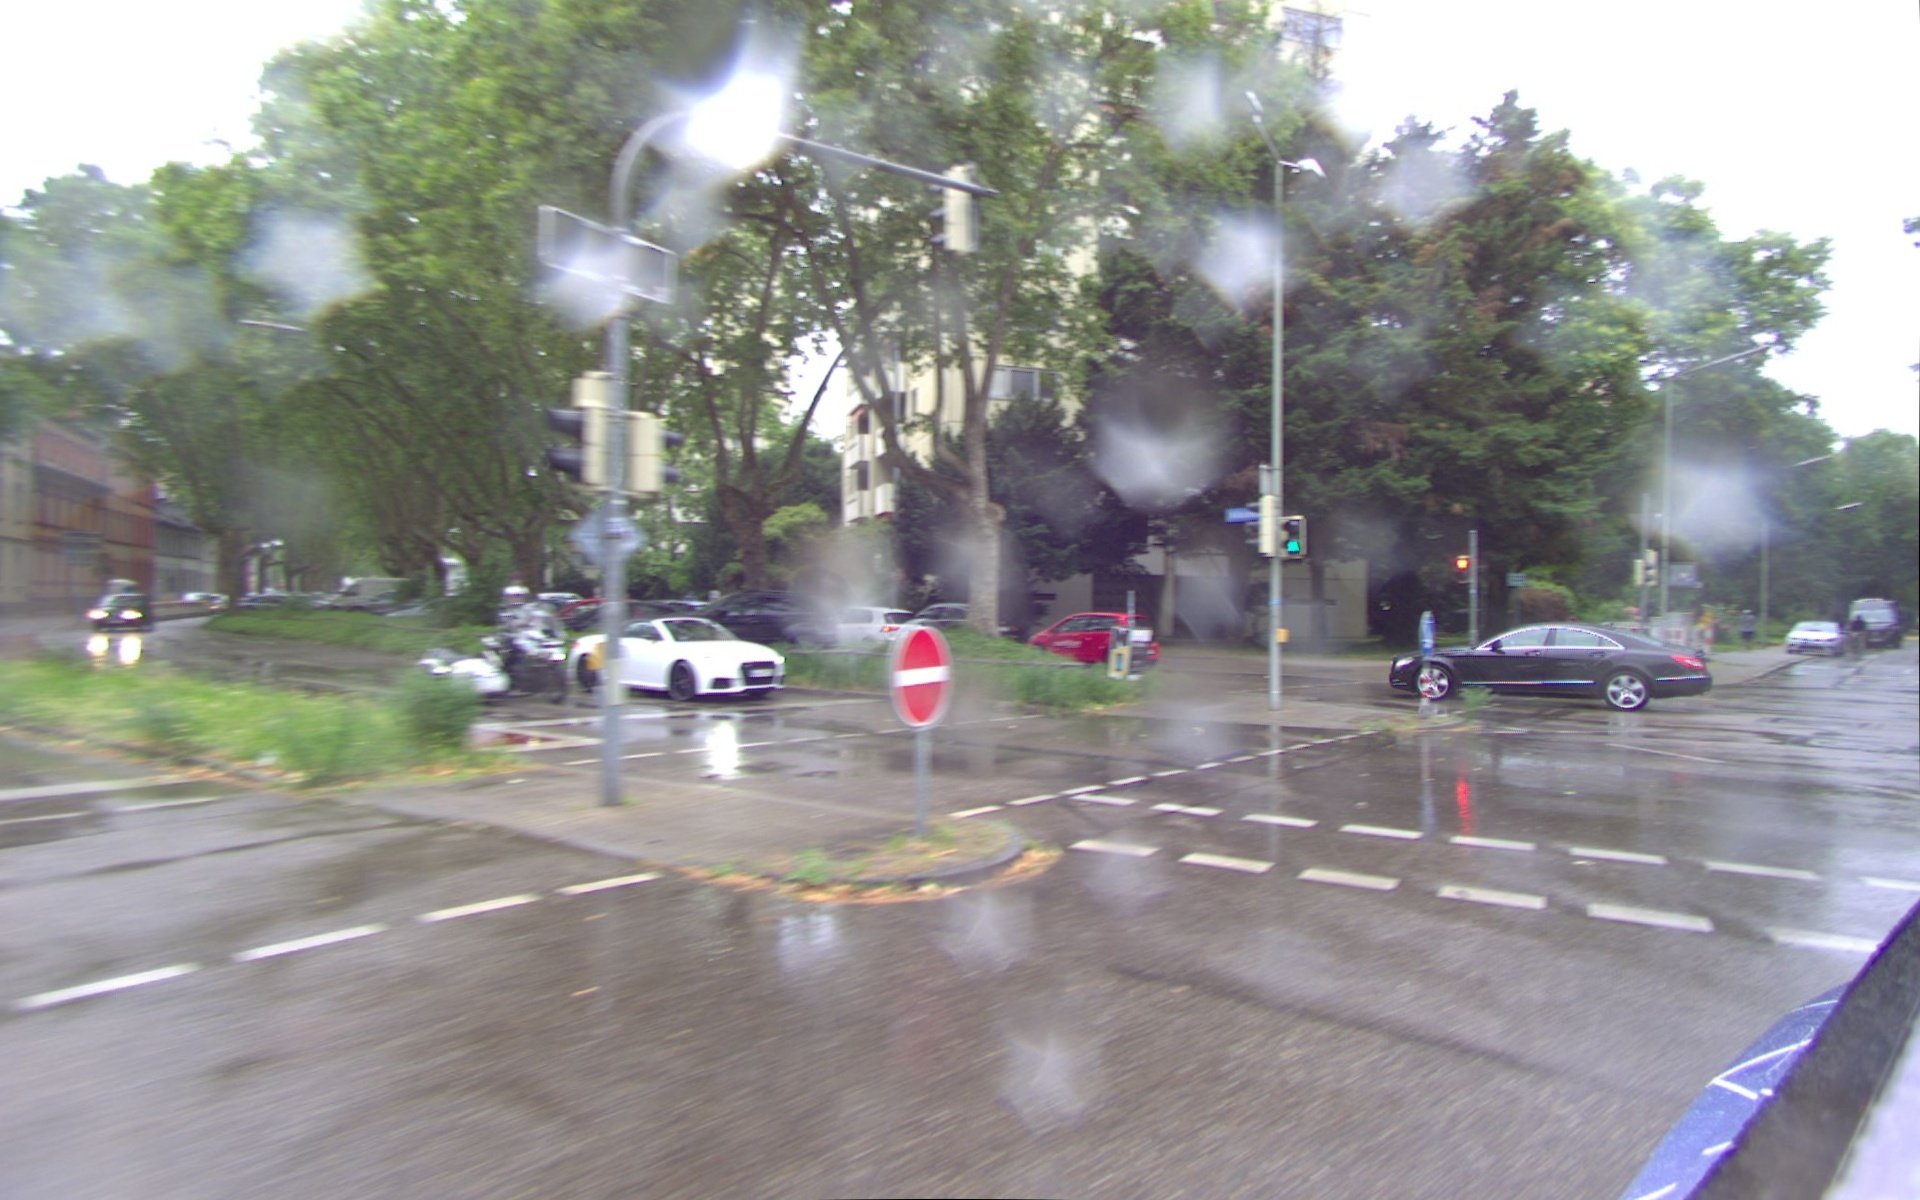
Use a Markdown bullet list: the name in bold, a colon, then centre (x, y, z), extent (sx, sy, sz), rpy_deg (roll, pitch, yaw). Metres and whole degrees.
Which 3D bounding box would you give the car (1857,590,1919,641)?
- **car**: centre (49.207, 0.817, 53.423), extent (5.598, 2.506, 2.397), rpy_deg (1, 0, -44)

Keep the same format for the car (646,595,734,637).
- **car**: centre (-11.109, 0.620, 41.474), extent (1.899, 1.654, 3.992), rpy_deg (1, -1, -42)

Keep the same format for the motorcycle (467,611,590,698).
- **motorcycle**: centre (-6.697, 0.803, 15.667), extent (2.064, 1.230, 0.869), rpy_deg (0, -1, 39)

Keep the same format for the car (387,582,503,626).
- **car**: centre (-20.429, 0.170, 40.310), extent (3.916, 1.676, 2.004), rpy_deg (1, 0, -22)

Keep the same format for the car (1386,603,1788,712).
- **car**: centre (10.374, 0.853, 17.224), extent (5.490, 1.537, 2.232), rpy_deg (0, 0, 33)

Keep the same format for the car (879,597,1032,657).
- **car**: centre (-0.202, 0.749, 29.805), extent (4.440, 1.628, 1.910), rpy_deg (0, -1, 44)

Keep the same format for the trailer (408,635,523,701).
- **trailer**: centre (-7.307, 0.978, 14.933), extent (1.476, 0.852, 1.012), rpy_deg (0, -1, 40)

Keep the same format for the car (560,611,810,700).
- **car**: centre (-4.720, 0.857, 17.190), extent (4.143, 1.291, 1.880), rpy_deg (0, -1, 34)

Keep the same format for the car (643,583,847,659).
- **car**: centre (-5.144, 0.501, 24.219), extent (4.506, 1.685, 1.878), rpy_deg (1, -1, -22)

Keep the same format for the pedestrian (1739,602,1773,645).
- **pedestrian**: centre (32.513, 0.950, 41.337), extent (0.912, 1.681, 0.942), rpy_deg (1, 0, -41)

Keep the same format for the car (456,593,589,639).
- **car**: centre (-14.629, 0.532, 33.889), extent (3.768, 1.440, 1.886), rpy_deg (1, 0, -34)

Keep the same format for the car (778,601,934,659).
- **car**: centre (-2.948, 0.780, 28.118), extent (4.378, 1.451, 1.757), rpy_deg (0, 0, 40)

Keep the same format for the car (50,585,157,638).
- **car**: centre (-35.021, 0.457, 41.371), extent (3.963, 2.039, 1.980), rpy_deg (1, -1, 28)

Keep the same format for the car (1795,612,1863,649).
- **car**: centre (37.148, 1.268, 43.225), extent (4.201, 1.478, 1.818), rpy_deg (1, -1, -44)

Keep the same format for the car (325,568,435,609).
- **car**: centre (-35.512, -0.695, 62.039), extent (5.503, 2.431, 2.232), rpy_deg (1, 0, 3)

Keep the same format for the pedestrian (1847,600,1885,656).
- **pedestrian**: centre (35.186, 1.076, 39.314), extent (1.062, 2.088, 0.942), rpy_deg (1, 0, -41)

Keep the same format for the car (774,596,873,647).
- **car**: centre (-4.633, 0.684, 34.028), extent (1.807, 1.616, 3.483), rpy_deg (1, -1, -38)

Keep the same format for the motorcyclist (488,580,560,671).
- **motorcyclist**: centre (-6.755, 0.382, 15.691), extent (0.751, 1.368, 0.747), rpy_deg (0, -1, 38)

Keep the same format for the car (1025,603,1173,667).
- **car**: centre (3.605, 0.873, 26.503), extent (3.446, 1.544, 1.815), rpy_deg (0, -1, 41)
